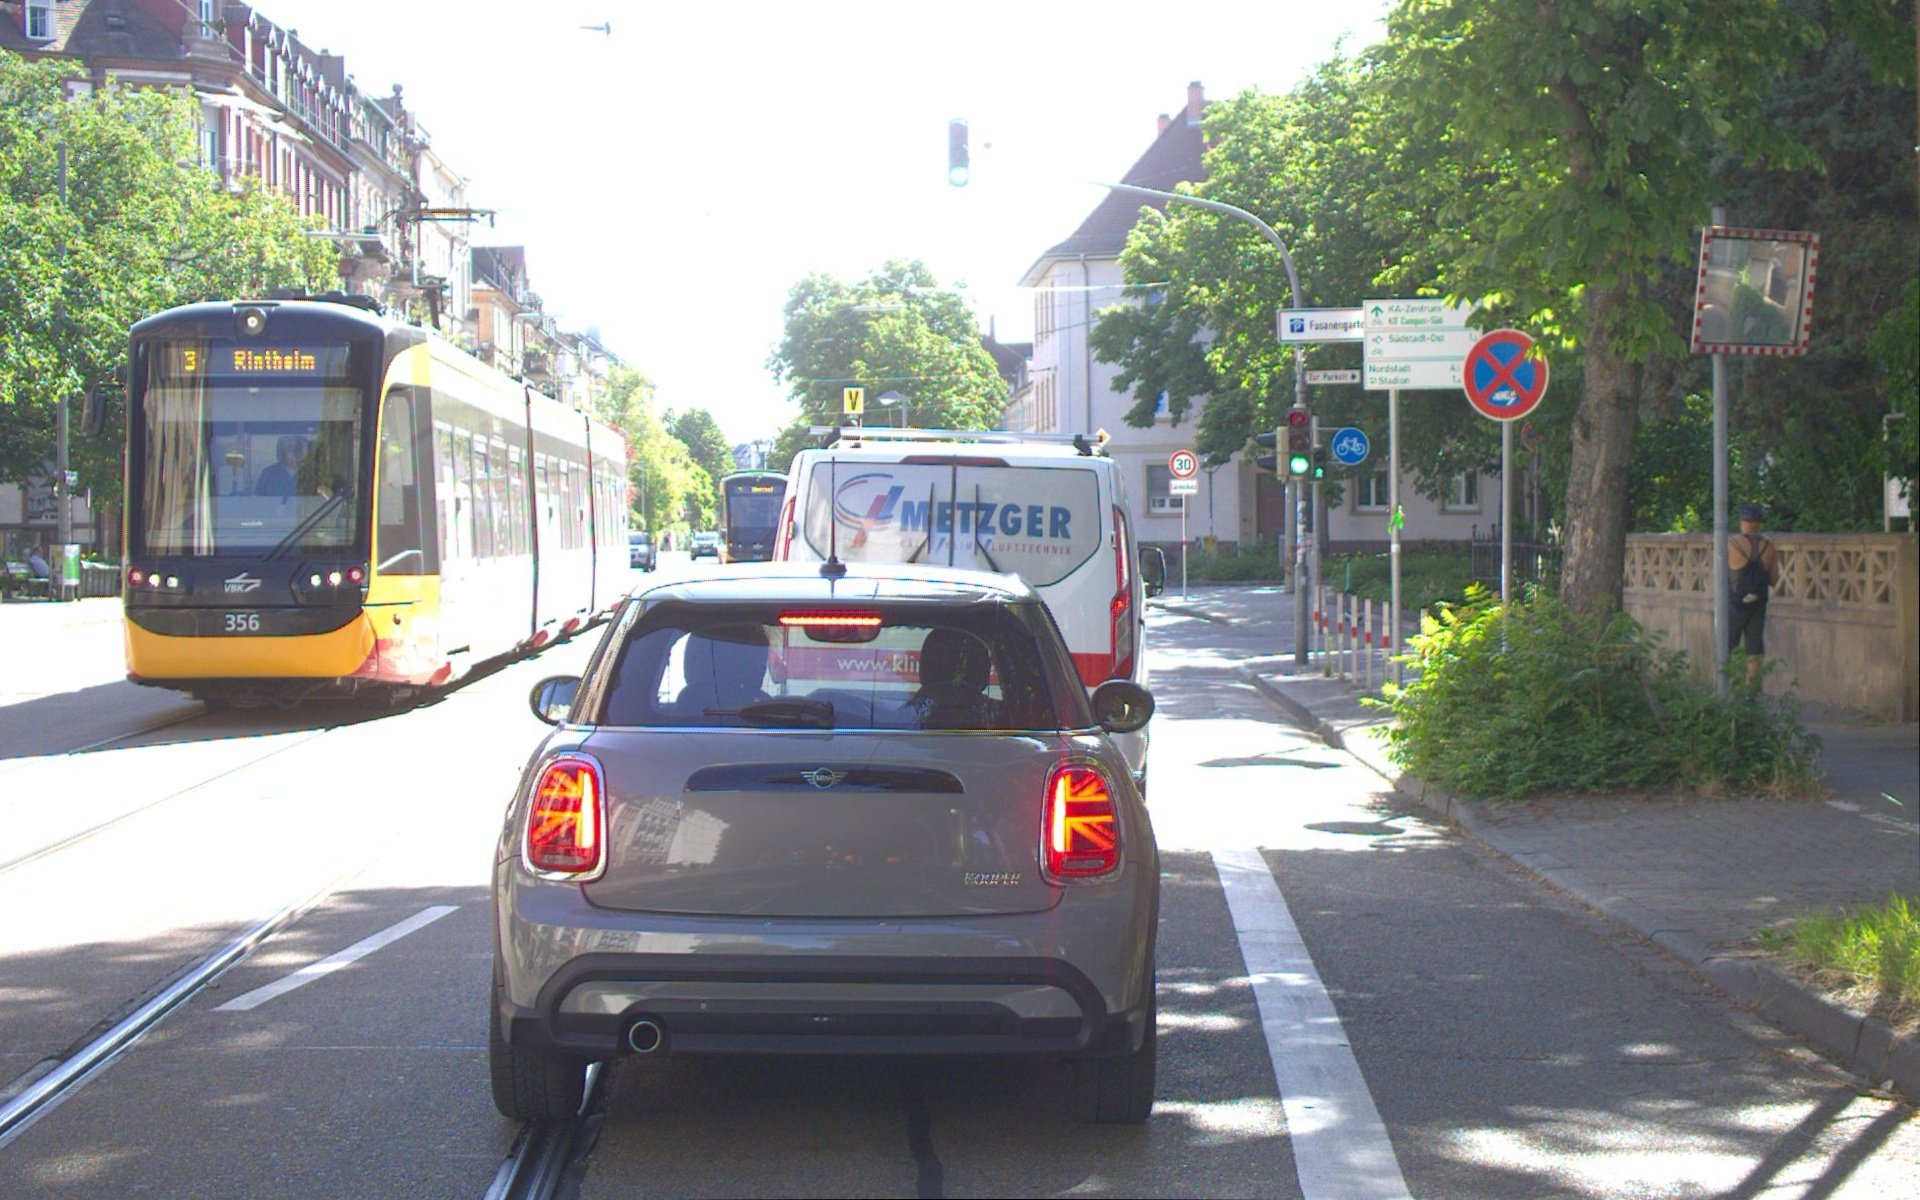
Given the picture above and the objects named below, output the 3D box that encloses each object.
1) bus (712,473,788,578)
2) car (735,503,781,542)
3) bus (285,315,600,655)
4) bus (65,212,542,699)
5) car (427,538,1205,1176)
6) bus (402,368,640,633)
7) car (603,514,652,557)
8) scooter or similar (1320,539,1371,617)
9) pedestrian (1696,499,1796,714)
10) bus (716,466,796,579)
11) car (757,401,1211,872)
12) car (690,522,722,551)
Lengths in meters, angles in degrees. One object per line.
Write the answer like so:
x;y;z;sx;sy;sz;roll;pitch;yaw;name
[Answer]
-7.286;-2.536;118.724;2.385;3.484;7.385;1;1;-5;bus
-8.501;-3.231;144.558;1.863;1.558;4.001;1;1;-4;car
-6.365;-1.341;44.002;2.859;3.764;11.185;1;1;-3;bus
-5.835;-1.187;32.657;2.859;3.764;11.499;1;1;-3;bus
-0.362;0.587;10.106;1.815;1.483;4.000;1;1;-1;car
-6.875;-1.496;55.505;2.849;3.764;12.199;1;1;-3;bus
-13.105;-2.533;135.544;1.775;1.612;4.001;1;1;-4;car
6.588;-0.376;58.820;0.676;1.305;1.329;1;0;-1;scooter or similar
6.228;0.050;27.264;0.592;1.665;0.647;-2;0;-1;pedestrian
-6.649;-2.472;111.329;2.385;3.484;7.385;1;1;-5;bus
0.085;0.148;18.736;2.118;2.200;4.945;1;1;-1;car
-14.674;-3.671;198.653;1.775;1.612;4.001;1;1;-4;car
